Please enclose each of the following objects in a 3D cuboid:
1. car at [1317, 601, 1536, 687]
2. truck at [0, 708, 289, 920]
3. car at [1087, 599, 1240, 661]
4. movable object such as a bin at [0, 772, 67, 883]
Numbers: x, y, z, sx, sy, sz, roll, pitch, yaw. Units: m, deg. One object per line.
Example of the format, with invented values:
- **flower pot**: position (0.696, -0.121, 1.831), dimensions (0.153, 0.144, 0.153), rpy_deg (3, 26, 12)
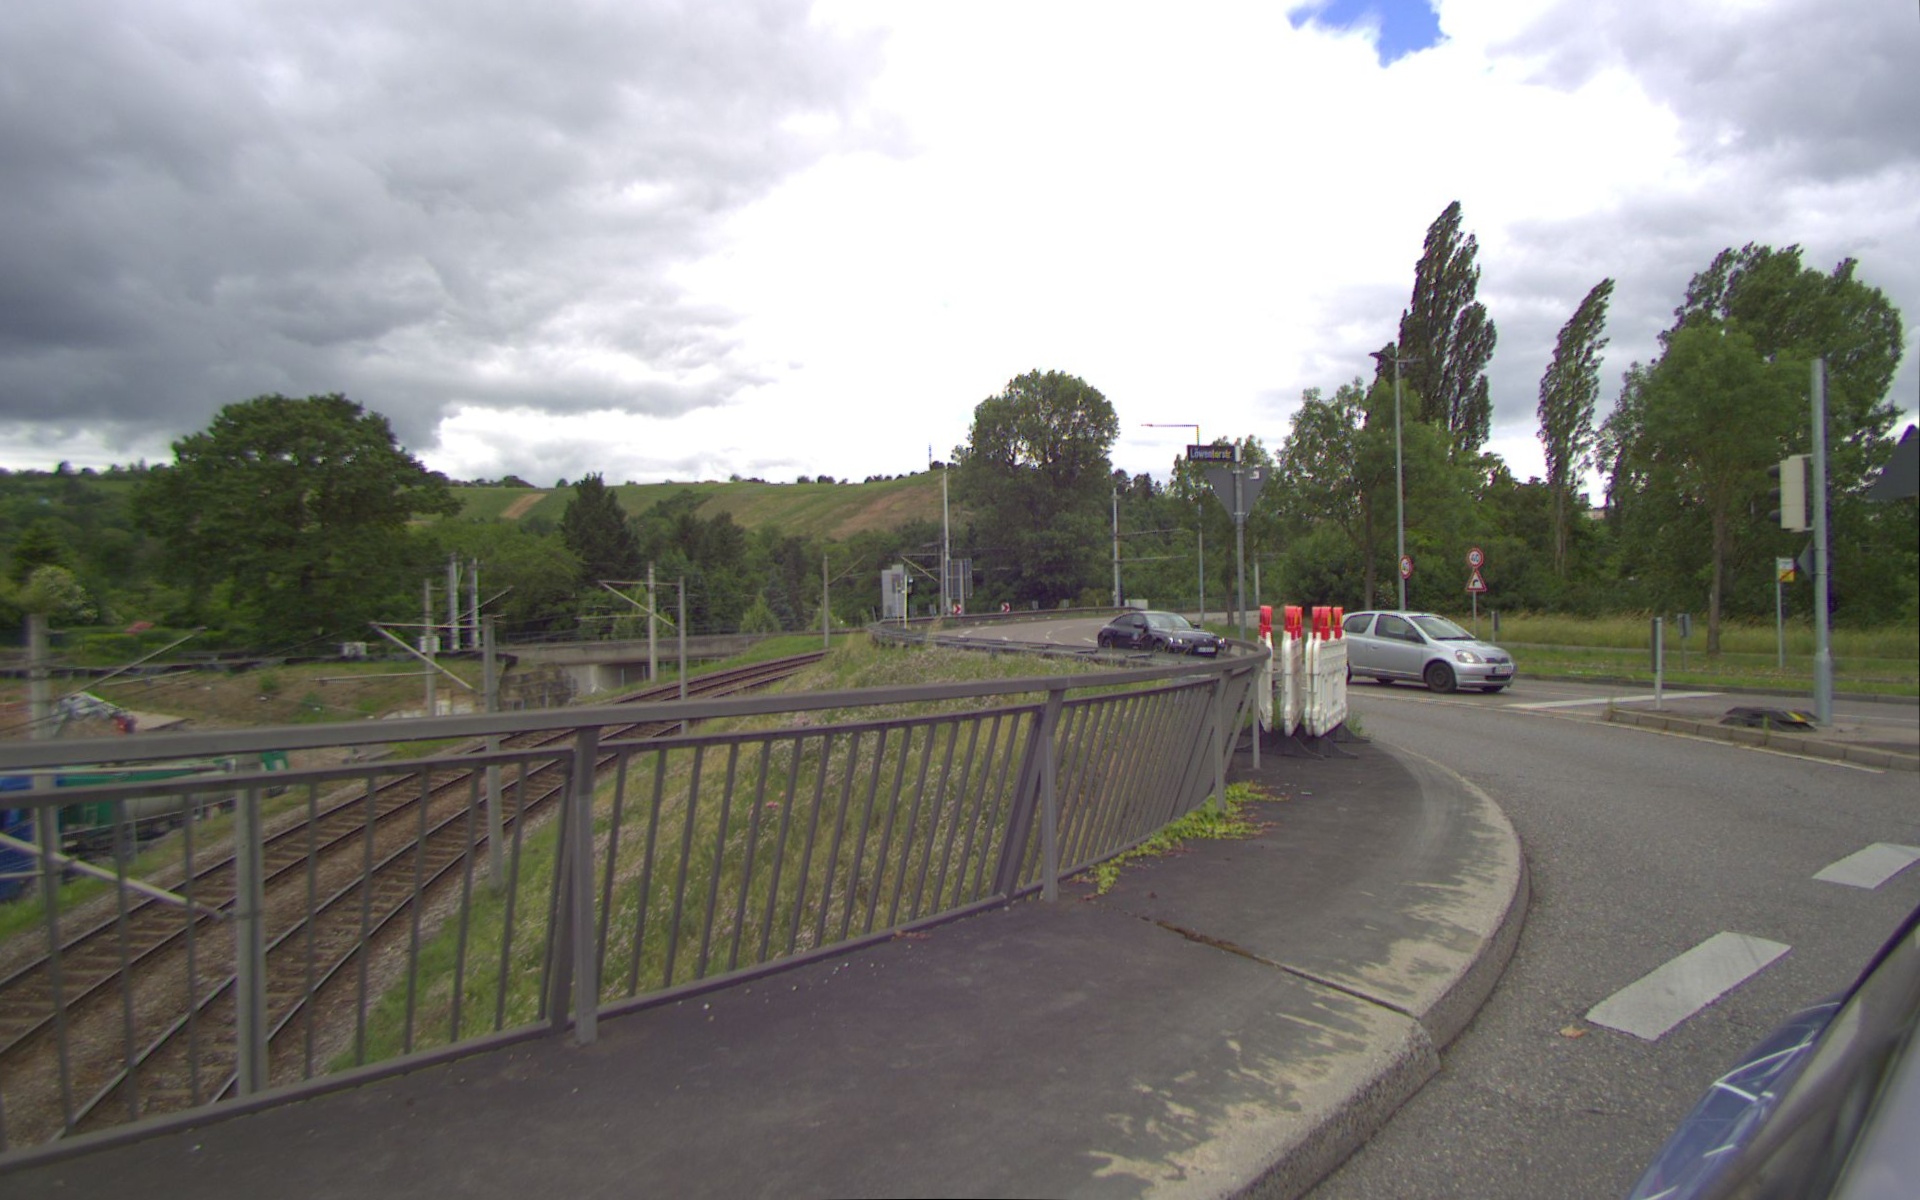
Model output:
- **car**: position (8.908, 0.780, 19.633), dimensions (1.639, 1.488, 3.634), rpy_deg (1, 0, -27)
- **truck**: position (-23.998, 5.576, 28.729), dimensions (2.791, 3.944, 11.624), rpy_deg (-1, -1, -3)
- **car**: position (5.425, 0.754, 27.771), dimensions (1.839, 1.495, 4.974), rpy_deg (2, 0, -19)
- **movable object such as a bin**: position (-28.513, 6.537, 28.343), dimensions (3.002, 2.785, 4.268), rpy_deg (0, -2, 14)
